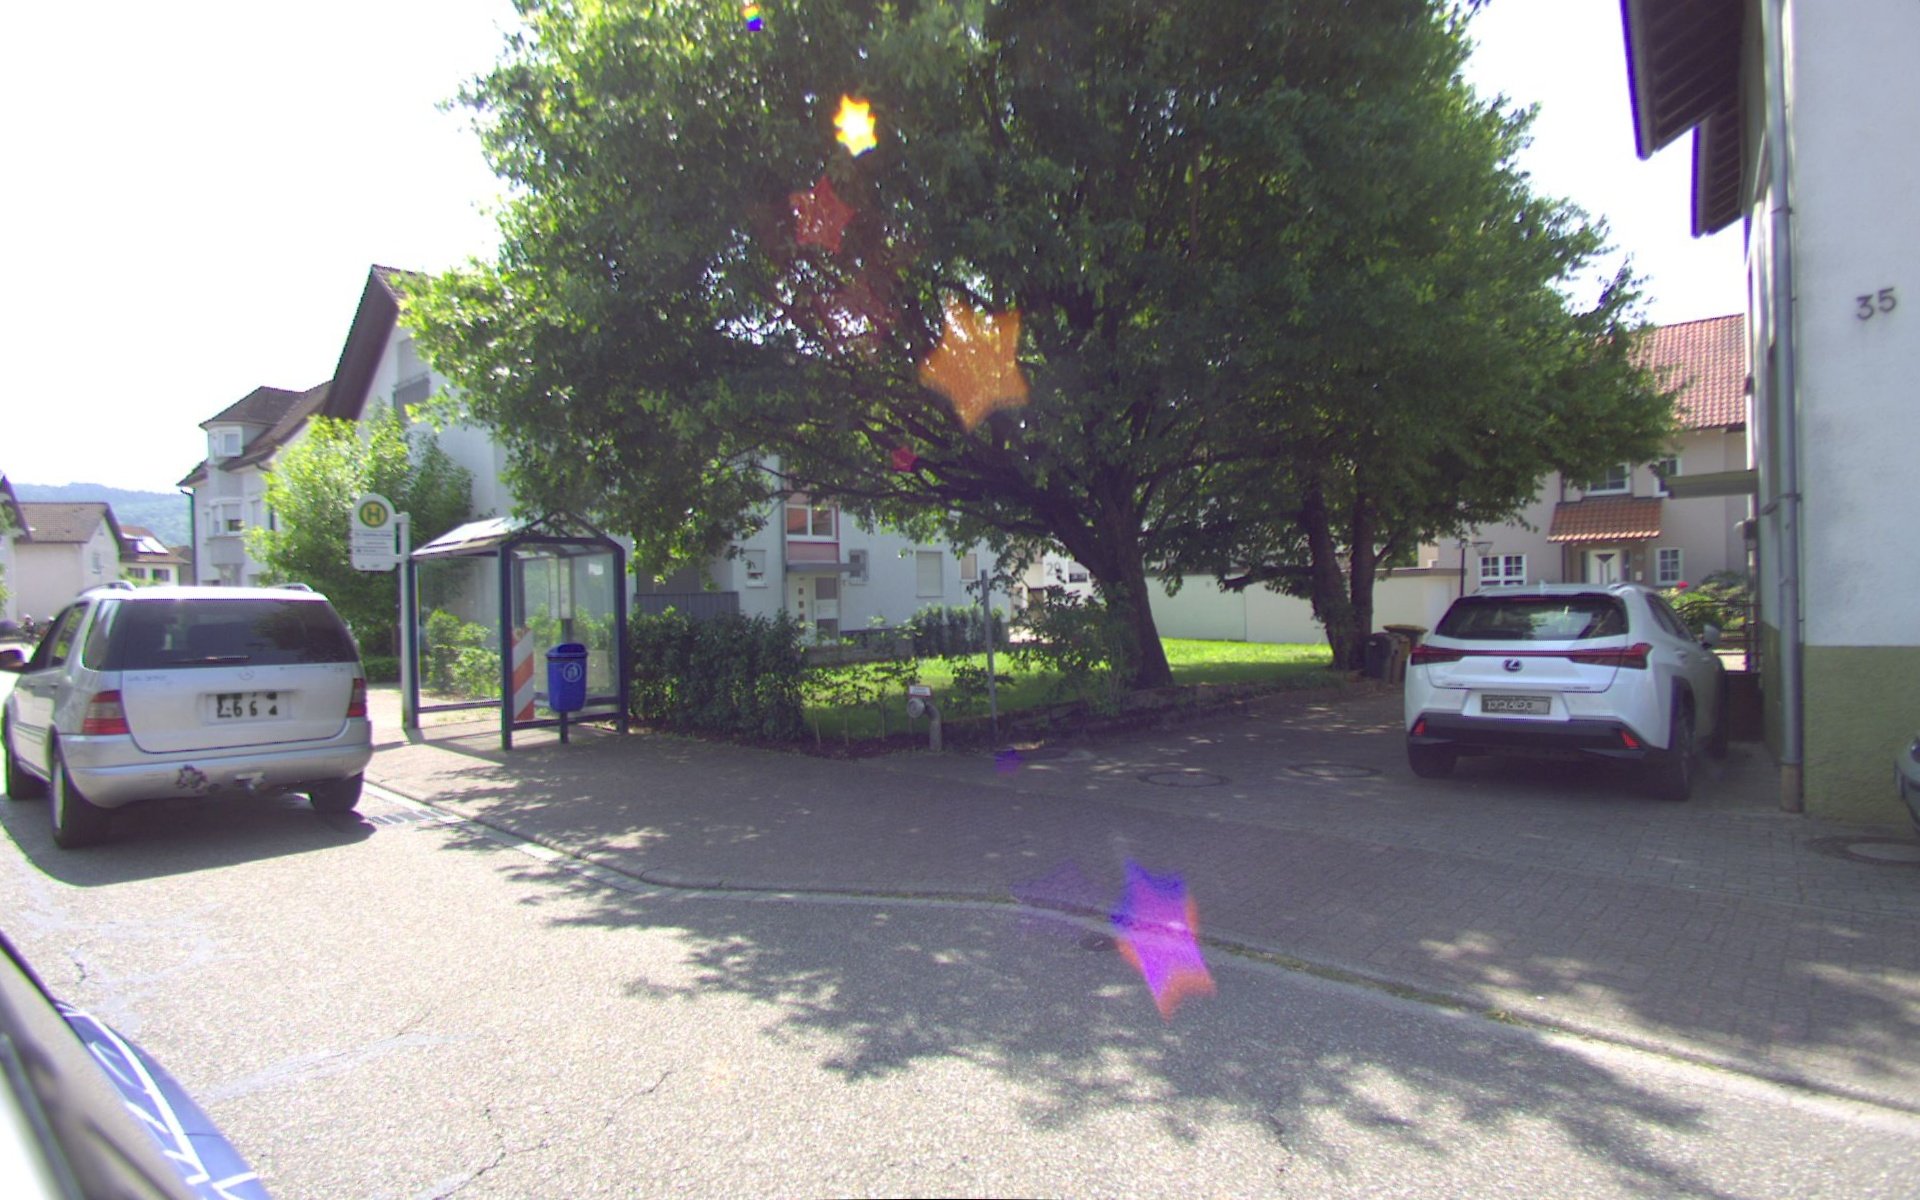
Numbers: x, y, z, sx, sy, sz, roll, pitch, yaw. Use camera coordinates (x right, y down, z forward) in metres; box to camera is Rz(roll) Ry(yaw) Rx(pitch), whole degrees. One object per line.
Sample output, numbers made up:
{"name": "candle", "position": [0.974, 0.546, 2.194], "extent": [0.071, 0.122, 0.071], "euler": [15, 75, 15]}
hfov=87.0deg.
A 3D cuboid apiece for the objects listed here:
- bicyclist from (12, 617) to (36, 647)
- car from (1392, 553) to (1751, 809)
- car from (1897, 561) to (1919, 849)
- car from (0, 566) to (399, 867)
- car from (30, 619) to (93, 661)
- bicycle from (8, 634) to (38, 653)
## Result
{"name": "bicyclist", "position": [-48.062, 1.657, 51.975], "extent": [0.538, 1.501, 0.799], "euler": [-1, 0, -14]}
{"name": "car", "position": [5.173, 0.535, 8.292], "extent": [1.773, 1.550, 4.115], "euler": [-2, -2, 42]}
{"name": "car", "position": [6.250, 0.472, 3.669], "extent": [4.053, 1.445, 1.760], "euler": [-2, 0, 41]}
{"name": "car", "position": [-6.339, 0.762, 8.149], "extent": [4.329, 1.780, 1.866], "euler": [-2, -2, 41]}
{"name": "car", "position": [-37.112, 1.616, 41.757], "extent": [1.755, 1.635, 4.108], "euler": [-1, 0, -44]}
{"name": "bicycle", "position": [-48.022, 2.216, 51.876], "extent": [0.513, 0.911, 1.316], "euler": [-1, 0, -13]}
